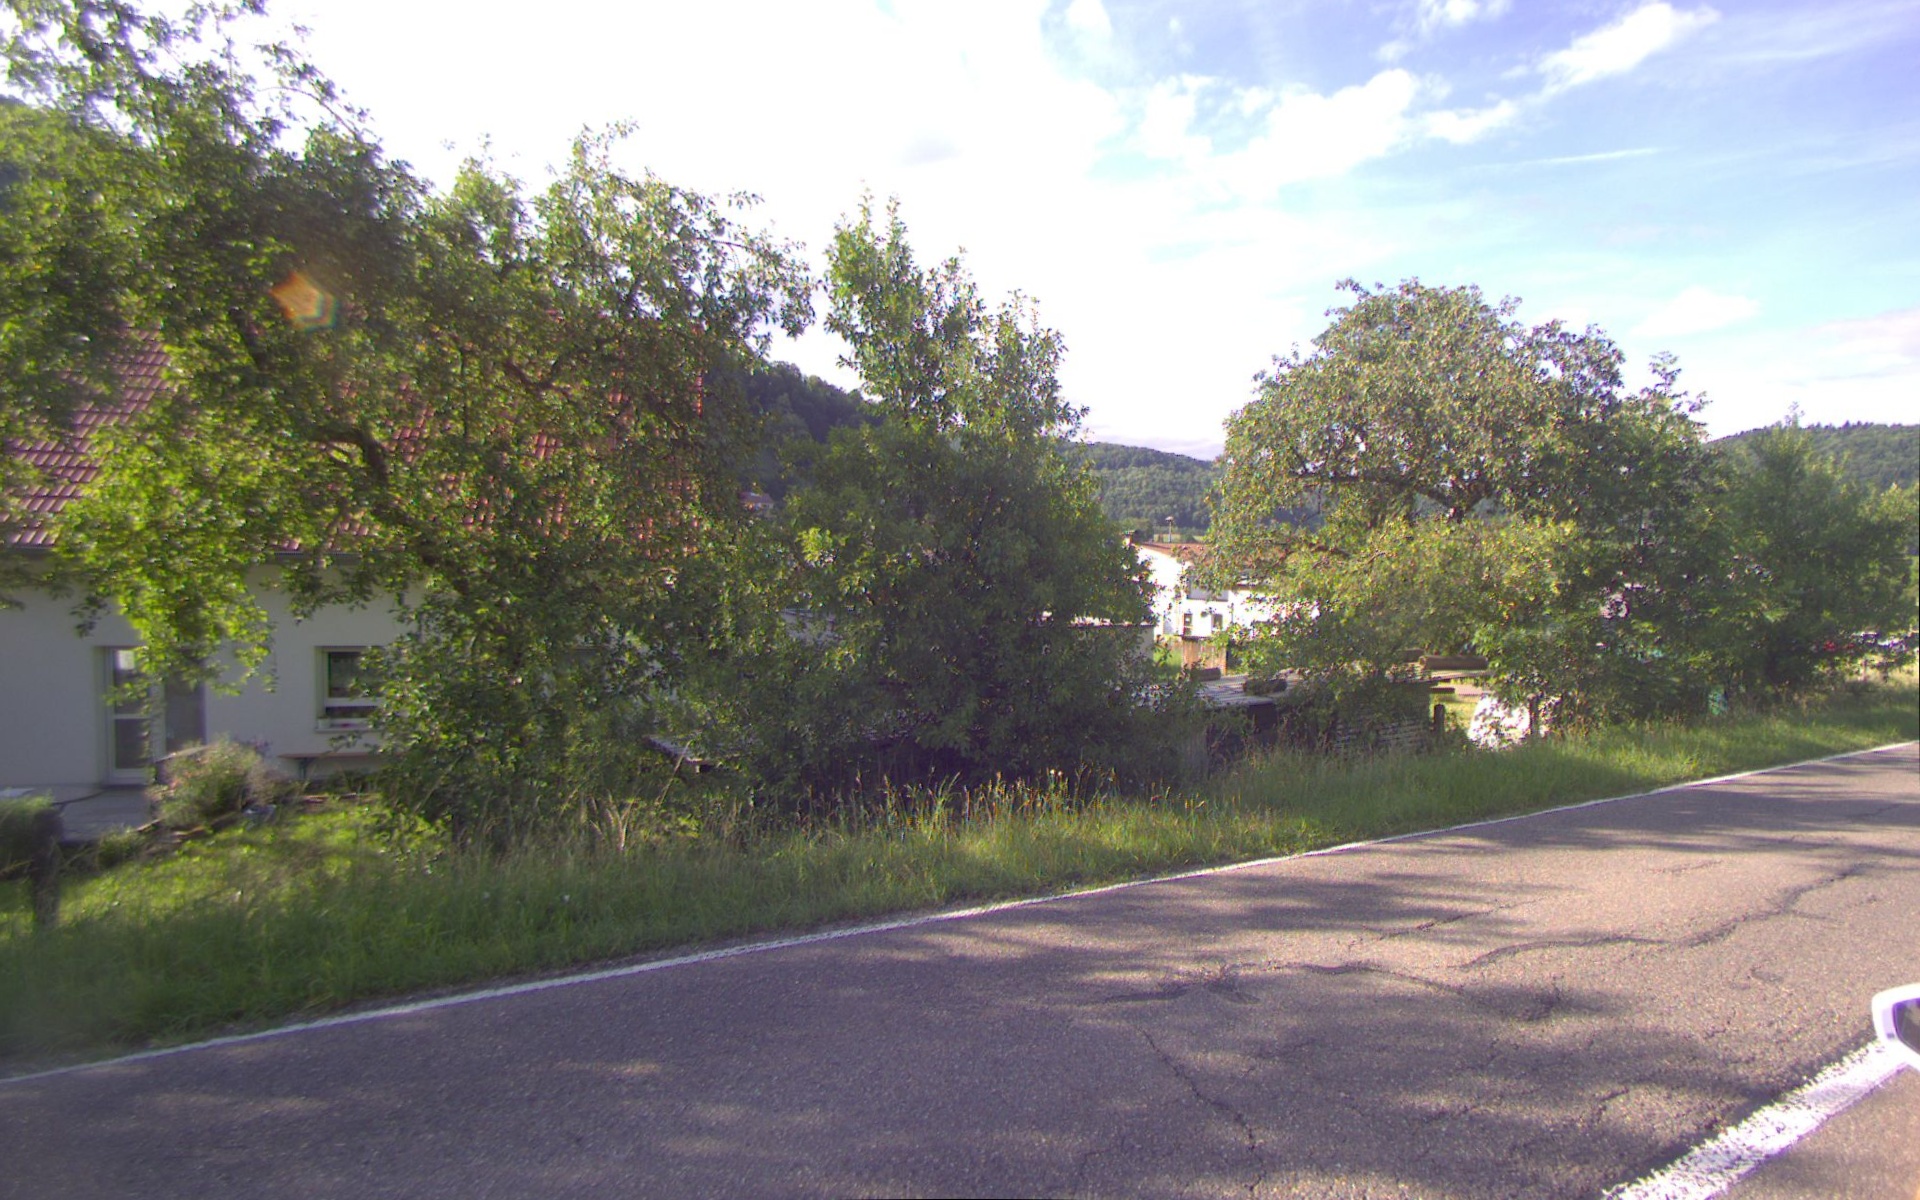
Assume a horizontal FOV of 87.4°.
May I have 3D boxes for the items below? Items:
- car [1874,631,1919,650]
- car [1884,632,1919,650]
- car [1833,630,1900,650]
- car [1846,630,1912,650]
[{"bbox_3d":[86.814,3.753,92.216,1.762,1.574,3.966,2,0,-31],"label":"car"},{"bbox_3d":[88.902,3.824,93.417,1.762,1.574,3.966,2,0,-31],"label":"car"},{"bbox_3d":[78.876,3.480,87.415,1.762,1.574,3.966,2,0,-31],"label":"car"},{"bbox_3d":[81.521,3.572,89.145,1.762,1.574,3.966,2,0,-31],"label":"car"}]
